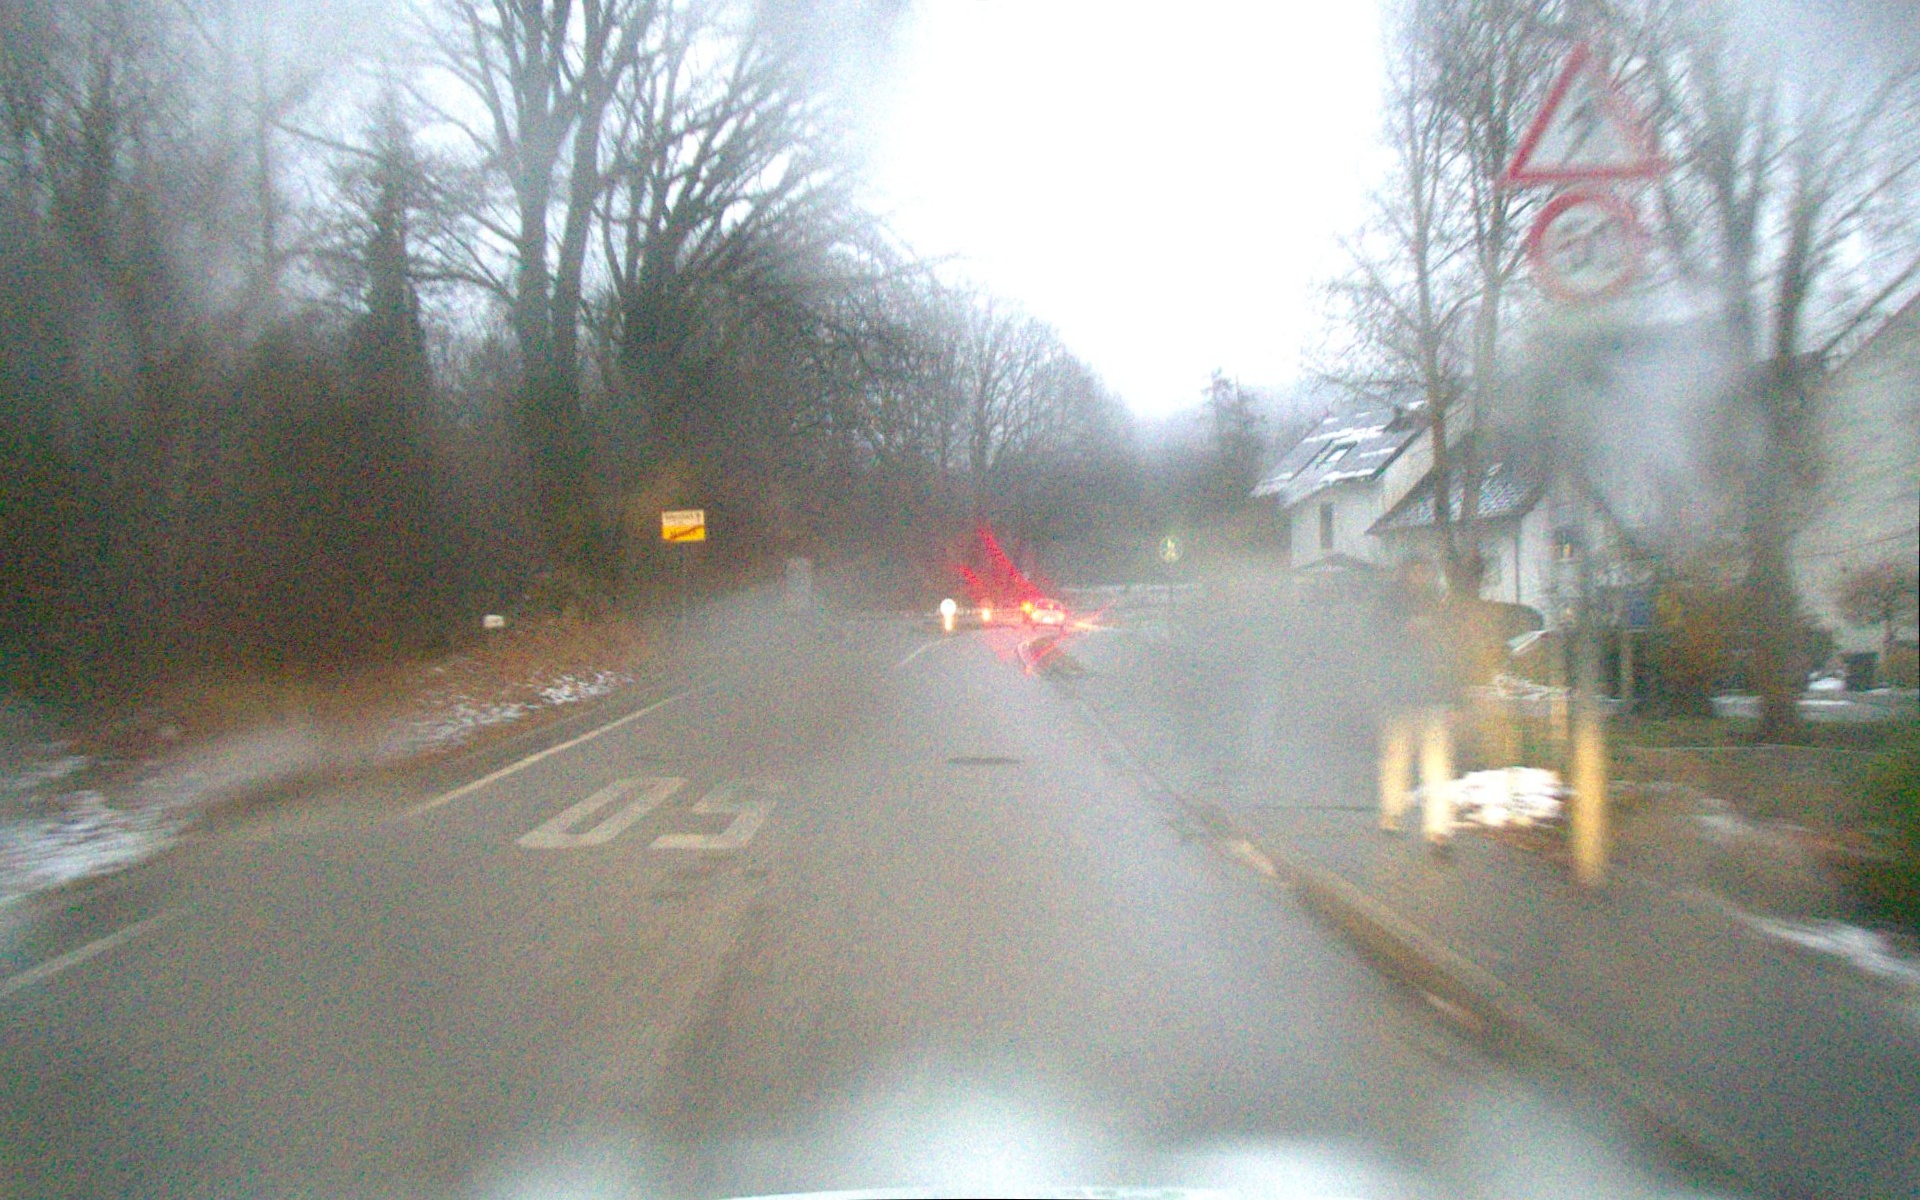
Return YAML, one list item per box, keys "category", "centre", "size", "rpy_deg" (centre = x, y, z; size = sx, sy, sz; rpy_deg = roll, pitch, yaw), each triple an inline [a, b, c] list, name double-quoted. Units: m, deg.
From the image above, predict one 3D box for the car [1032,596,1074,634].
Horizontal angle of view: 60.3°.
- category: "car"
  centre: [4.497, 0.702, 79.816]
  size: [1.892, 1.812, 4.002]
  rpy_deg: [0, 0, 5]

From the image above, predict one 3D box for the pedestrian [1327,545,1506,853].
- category: "pedestrian"
  centre: [2.611, 0.539, 9.558]
  size: [0.728, 1.684, 0.970]
  rpy_deg: [0, 0, -2]

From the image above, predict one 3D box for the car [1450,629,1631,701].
- category: "car"
  centre: [13.983, 1.542, 39.951]
  size: [3.707, 1.625, 1.802]
  rpy_deg: [-1, 0, -4]

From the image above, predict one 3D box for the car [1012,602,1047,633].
- category: "car"
  centre: [3.903, 0.965, 92.506]
  size: [1.892, 1.705, 4.002]
  rpy_deg: [0, 0, 3]
